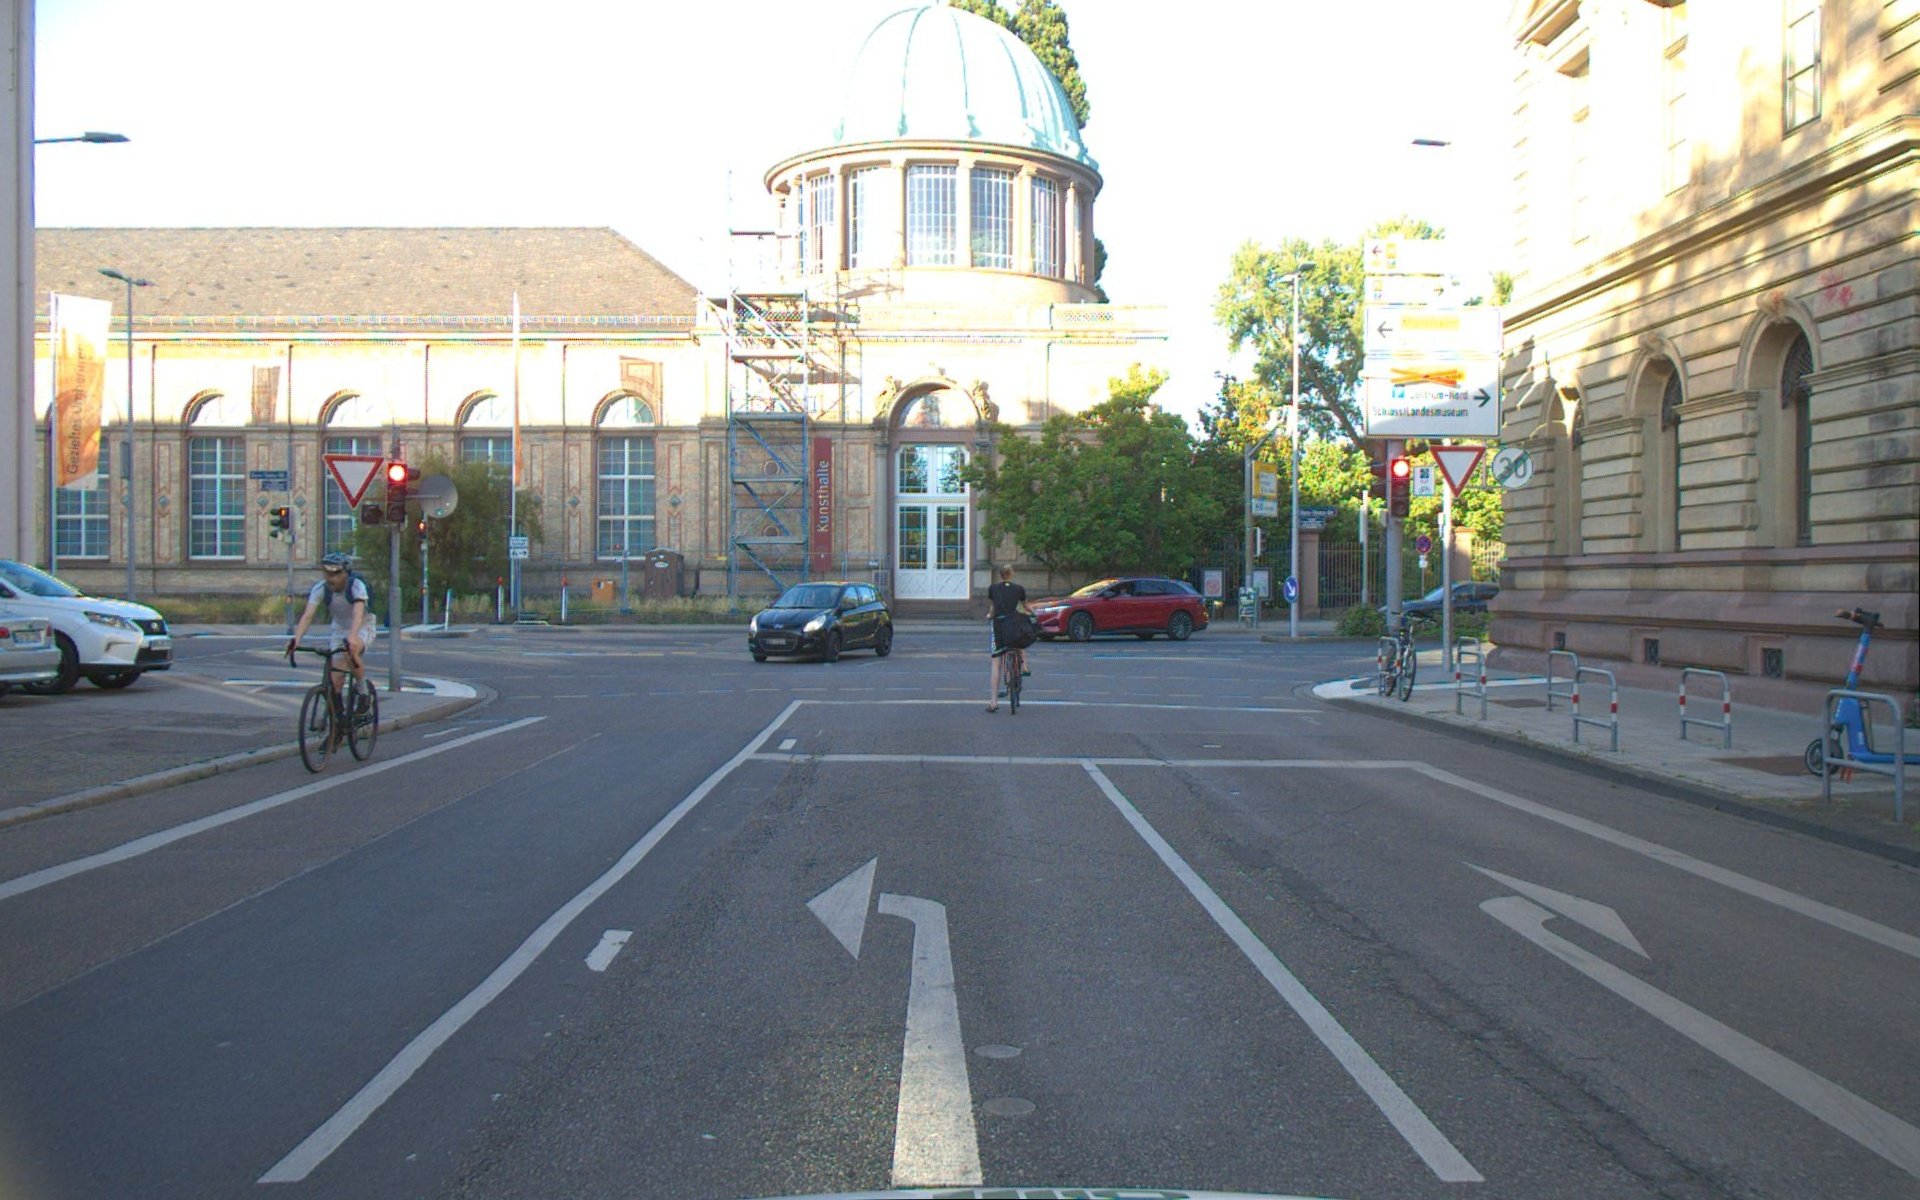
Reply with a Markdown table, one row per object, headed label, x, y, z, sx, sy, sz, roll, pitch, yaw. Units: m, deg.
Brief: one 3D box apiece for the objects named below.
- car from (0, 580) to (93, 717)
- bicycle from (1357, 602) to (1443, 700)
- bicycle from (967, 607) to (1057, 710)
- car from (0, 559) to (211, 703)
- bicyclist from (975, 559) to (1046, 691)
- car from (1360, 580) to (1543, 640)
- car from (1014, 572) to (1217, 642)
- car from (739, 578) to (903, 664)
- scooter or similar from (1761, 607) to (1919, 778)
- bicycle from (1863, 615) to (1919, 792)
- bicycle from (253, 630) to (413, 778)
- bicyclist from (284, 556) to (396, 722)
| label | x | y | z | sx | sy | sz | roll | pitch | yaw |
| --- | --- | --- | --- | --- | --- | --- | --- | --- | --- |
| car | -12.053 | 0.445 | 18.073 | 4.181 | 1.404 | 1.735 | 2 | 1 | -3 |
| bicycle | 5.701 | 0.653 | 21.516 | 0.570 | 1.209 | 1.920 | 0 | -1 | -1 |
| bicycle | 0.654 | 0.681 | 19.902 | 0.696 | 1.176 | 2.070 | 0 | -1 | 13 |
| car | -12.066 | 0.320 | 20.802 | 4.352 | 1.669 | 1.941 | 2 | 1 | -3 |
| bicyclist | 0.608 | 0.295 | 19.691 | 0.701 | 1.529 | 0.851 | 0 | -1 | 13 |
| car | 12.976 | 0.257 | 43.756 | 4.329 | 1.484 | 1.784 | -1 | 0 | -10 |
| car | 3.862 | 0.134 | 41.041 | 4.771 | 1.572 | 1.822 | -1 | 1 | -25 |
| car | -2.622 | 0.354 | 32.097 | 1.624 | 1.497 | 3.854 | 0 | 1 | 22 |
| scooter or similar | 6.614 | 0.669 | 12.233 | 1.106 | 1.216 | 0.584 | 0 | 0 | 6 |
| bicycle | 6.790 | 0.692 | 10.661 | 0.810 | 1.154 | 1.944 | -3 | 1 | -1 |
| bicycle | -5.360 | 0.852 | 14.271 | 0.612 | 1.176 | 2.052 | 0 | -1 | -1 |
| bicyclist | -5.351 | 0.331 | 14.319 | 0.612 | 1.388 | 0.929 | 0 | -1 | -1 |
